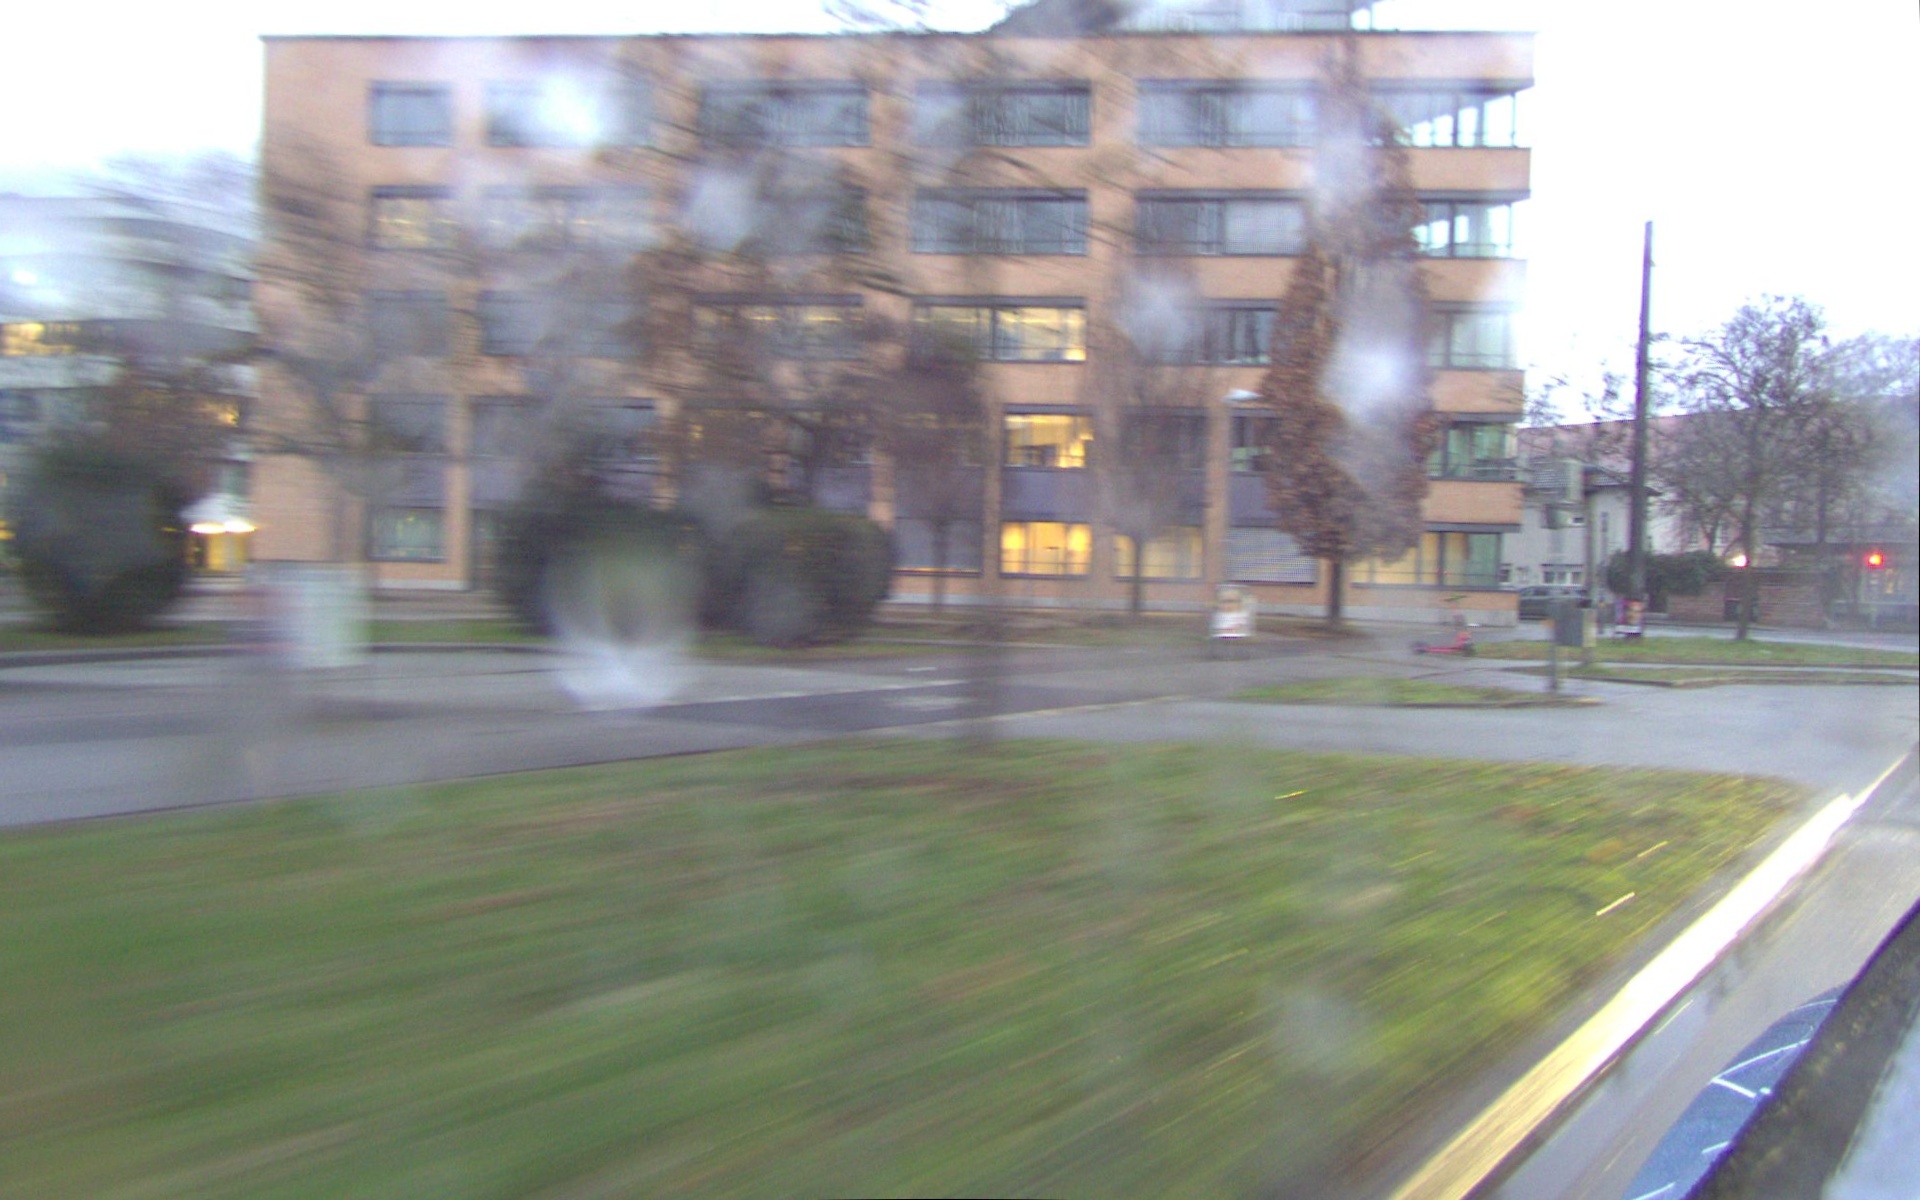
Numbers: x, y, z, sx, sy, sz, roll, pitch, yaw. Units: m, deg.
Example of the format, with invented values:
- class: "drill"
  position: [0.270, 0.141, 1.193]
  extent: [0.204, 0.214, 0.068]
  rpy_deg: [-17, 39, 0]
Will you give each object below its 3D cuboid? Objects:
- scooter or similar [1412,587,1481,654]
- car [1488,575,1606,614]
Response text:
- class: "scooter or similar"
  position: [9.520, 0.386, 19.816]
  extent: [1.137, 1.247, 0.482]
  rpy_deg: [2, 1, 33]
- class: "car"
  position: [28.147, -0.300, 48.621]
  extent: [1.967, 1.690, 4.501]
  rpy_deg: [0, 2, -45]
